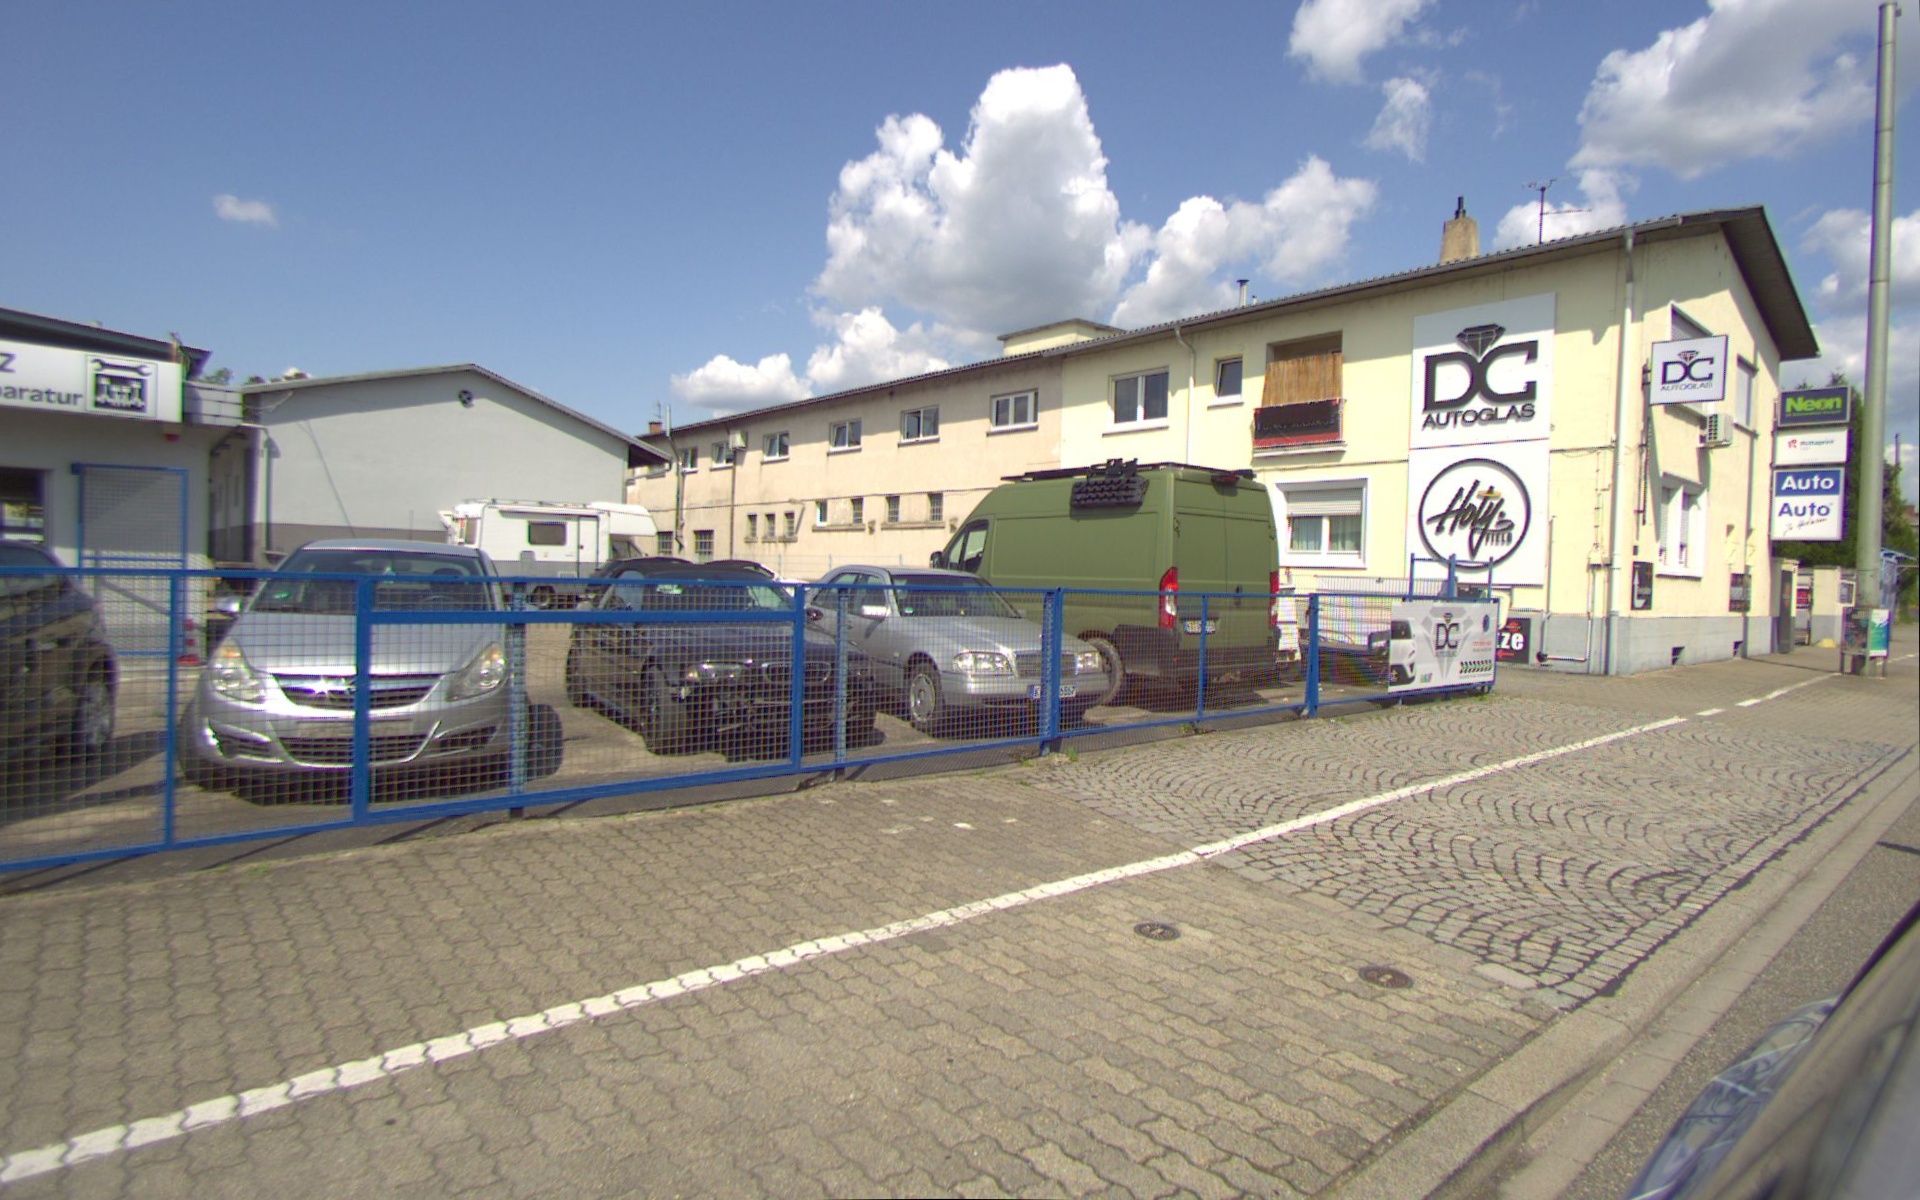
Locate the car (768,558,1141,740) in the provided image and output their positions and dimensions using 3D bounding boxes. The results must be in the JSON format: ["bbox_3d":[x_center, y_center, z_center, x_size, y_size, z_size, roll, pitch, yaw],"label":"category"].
[{"bbox_3d":[-0.295,0.317,10.202,1.768,1.413,4.216,1,2,-33],"label":"car"}]

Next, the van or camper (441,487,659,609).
[{"bbox_3d":[-11.007,-1.323,27.365,4.971,2.999,2.284,0,2,-42],"label":"van or camper"}]

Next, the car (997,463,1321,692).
[{"bbox_3d":[2.613,-0.347,14.140,1.771,2.702,4.208,1,2,-40],"label":"car"}]

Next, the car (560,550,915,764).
[{"bbox_3d":[-2.123,0.307,8.743,1.768,1.403,3.837,1,2,-32],"label":"car"}]

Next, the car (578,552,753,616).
[{"bbox_3d":[-7.478,-0.410,25.886,3.939,1.497,1.719,0,2,-41],"label":"car"}]

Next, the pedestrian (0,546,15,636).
[{"bbox_3d":[-13.258,-0.129,13.837,0.479,1.228,0.501,1,1,-42],"label":"pedestrian"}]

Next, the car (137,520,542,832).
[{"bbox_3d":[-3.949,0.299,7.099,1.766,1.497,4.158,1,2,-24],"label":"car"}]

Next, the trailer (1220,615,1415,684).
[{"bbox_3d":[5.083,0.668,14.525,1.245,0.776,2.330,0,2,-39],"label":"trailer"}]

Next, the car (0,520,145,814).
[{"bbox_3d":[-5.746,0.321,5.030,1.685,1.497,4.012,1,2,-25],"label":"car"}]

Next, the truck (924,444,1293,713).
[{"bbox_3d":[1.624,-0.287,12.142,2.033,2.639,3.996,1,2,-40],"label":"truck"}]

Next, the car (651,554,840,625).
[{"bbox_3d":[-4.925,-0.246,23.516,3.939,1.497,1.719,0,2,-41],"label":"car"}]
